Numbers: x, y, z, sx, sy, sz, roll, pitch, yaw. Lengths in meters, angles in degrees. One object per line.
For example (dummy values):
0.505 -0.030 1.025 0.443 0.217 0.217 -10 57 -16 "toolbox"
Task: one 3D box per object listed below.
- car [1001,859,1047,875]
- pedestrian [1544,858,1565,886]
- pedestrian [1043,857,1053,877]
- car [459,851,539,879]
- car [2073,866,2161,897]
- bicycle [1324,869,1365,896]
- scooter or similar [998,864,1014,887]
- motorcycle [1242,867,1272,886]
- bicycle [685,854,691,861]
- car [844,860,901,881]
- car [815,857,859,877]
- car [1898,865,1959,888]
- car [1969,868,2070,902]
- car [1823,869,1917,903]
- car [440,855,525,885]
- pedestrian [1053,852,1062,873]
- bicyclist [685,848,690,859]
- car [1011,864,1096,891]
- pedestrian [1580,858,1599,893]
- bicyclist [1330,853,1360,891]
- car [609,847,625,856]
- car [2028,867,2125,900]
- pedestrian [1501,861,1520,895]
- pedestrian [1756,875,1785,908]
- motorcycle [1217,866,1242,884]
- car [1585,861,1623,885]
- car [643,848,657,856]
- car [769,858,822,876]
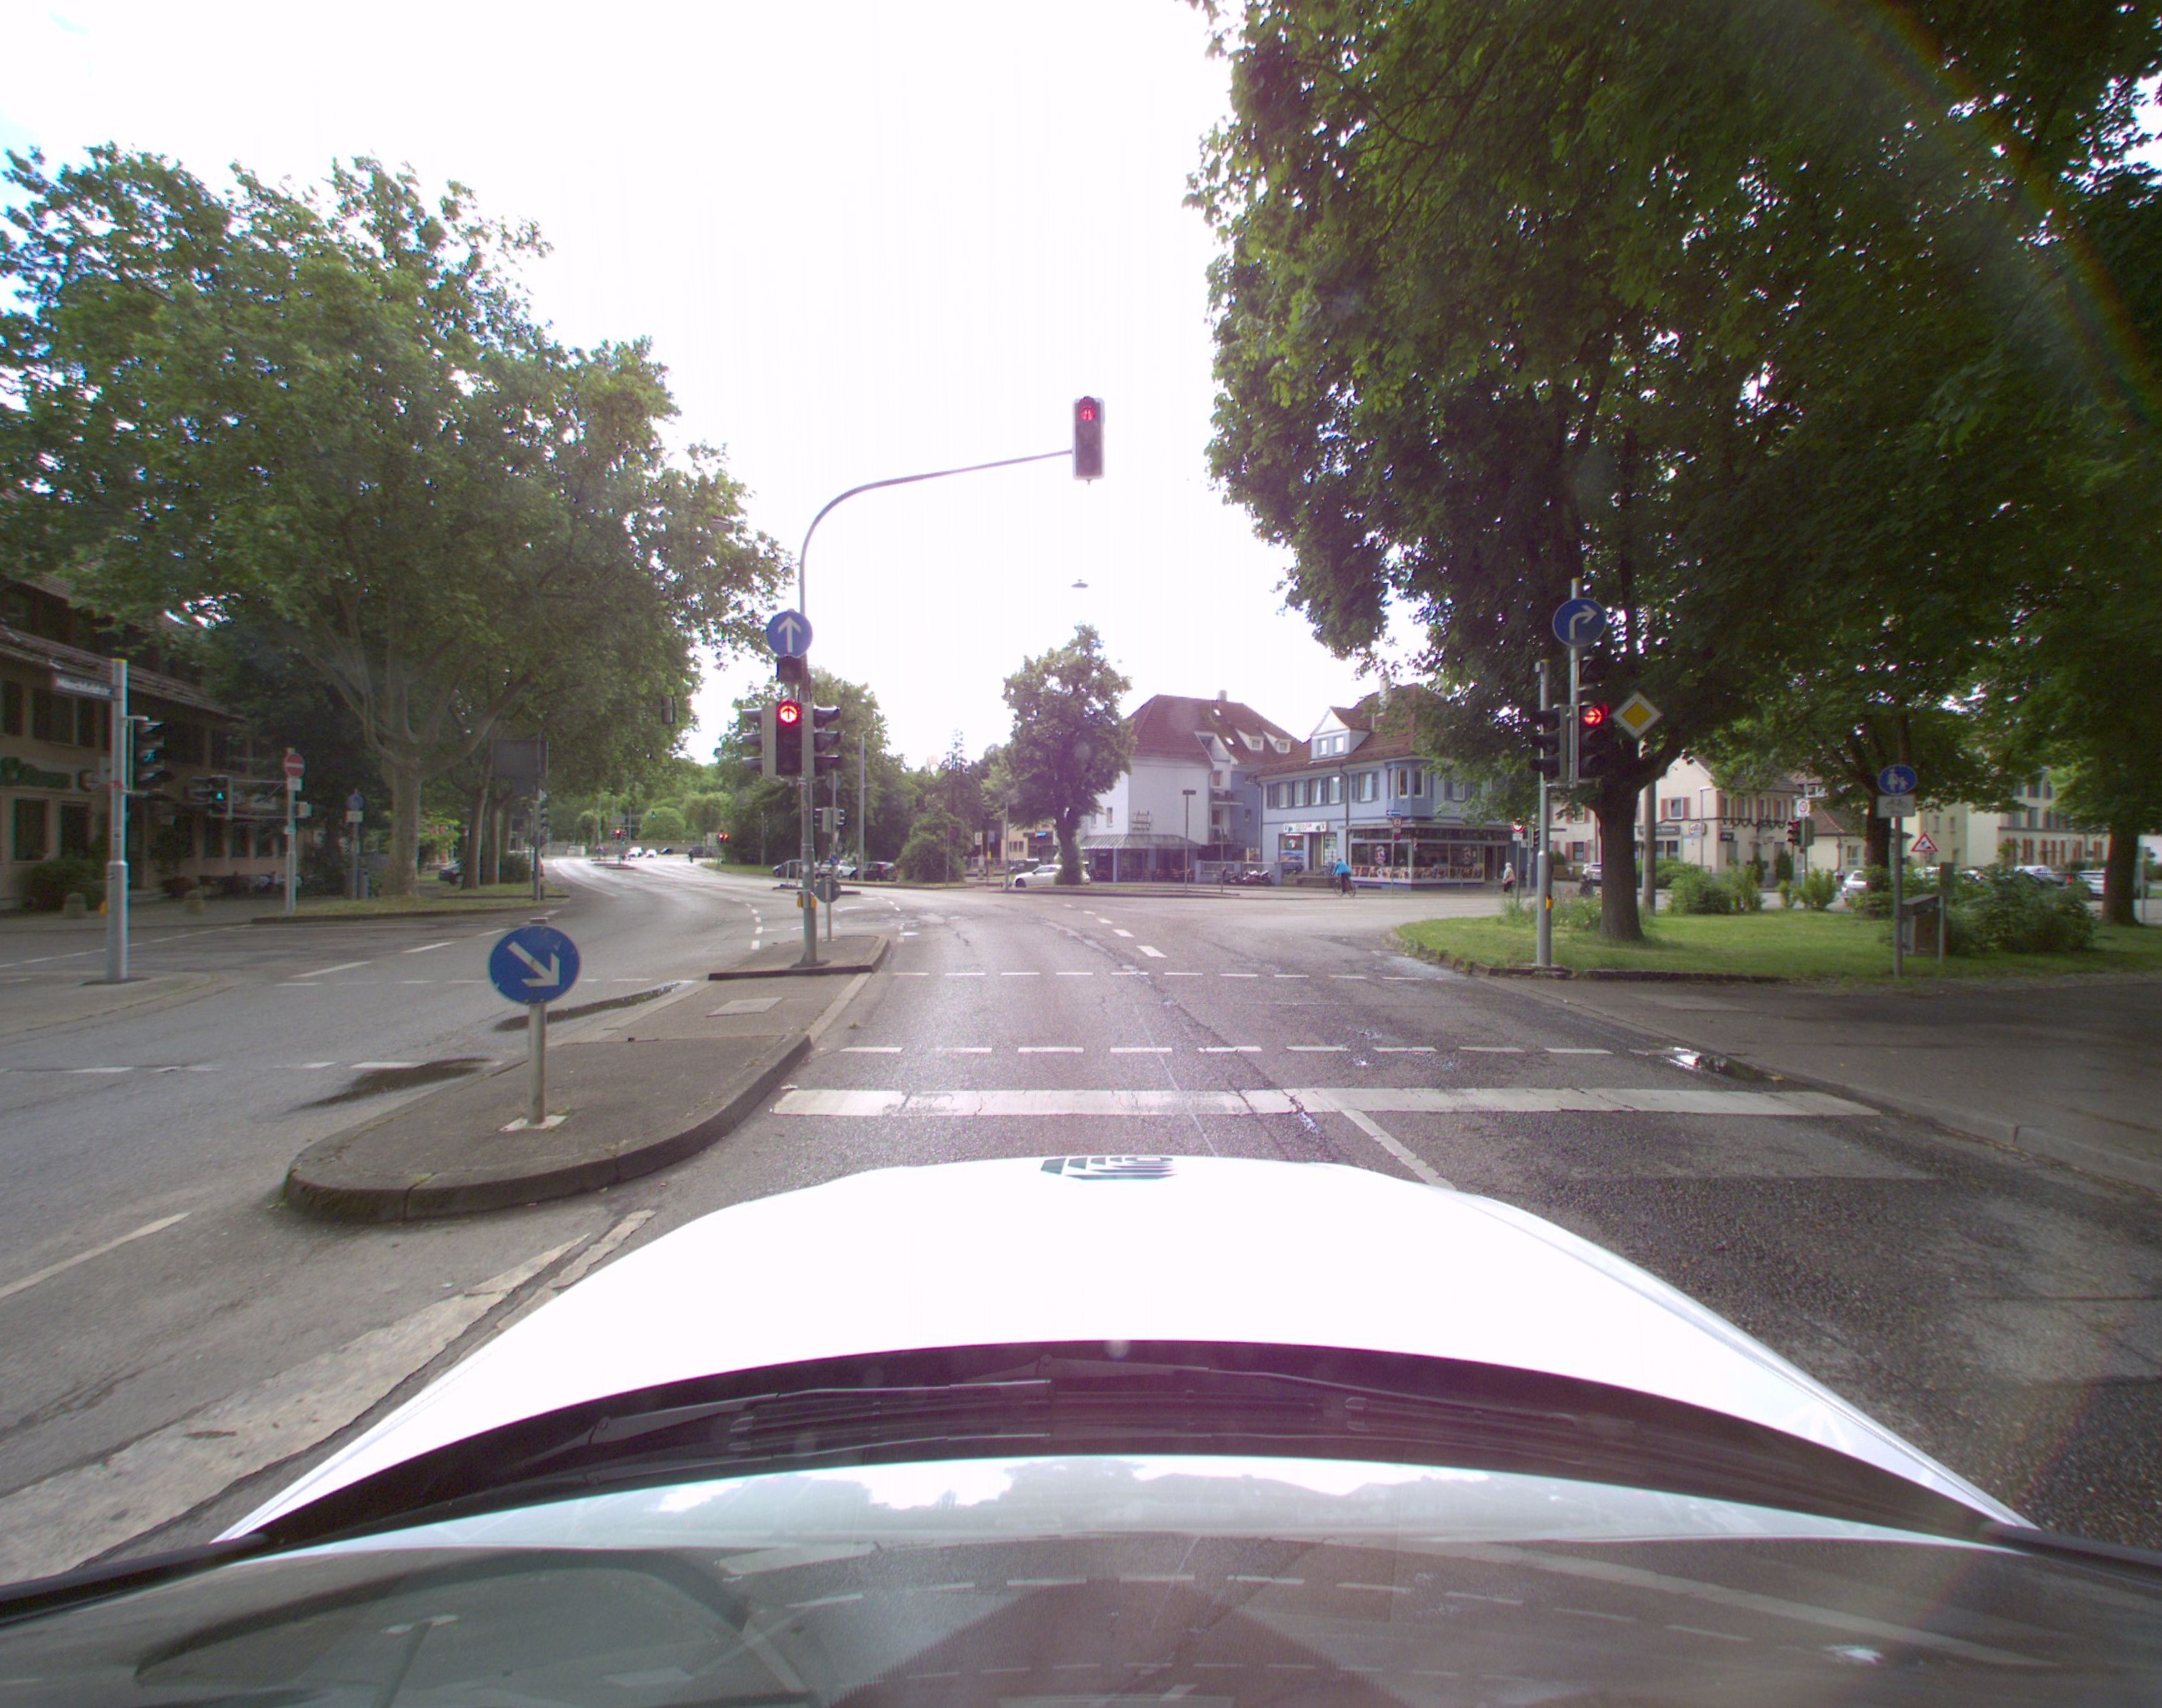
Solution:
-5.322 1.225 75.925 3.948 1.442 1.742 0 0 -18 "car"
26.462 0.982 45.505 0.671 1.560 0.743 0 -1 -13 "pedestrian"
-3.276 1.305 81.065 0.838 2.014 1.051 0 -1 -12 "pedestrian"
-36.461 0.673 51.182 4.015 1.684 1.979 0 -1 -34 "car"
52.595 1.368 41.264 3.731 1.457 1.640 0 0 -17 "car"
11.699 1.250 36.234 0.874 1.149 1.944 0 0 -12 "bicycle"
-3.953 1.134 42.853 0.439 1.175 1.442 -1 -1 11 "scooter or similar"
10.427 1.314 48.253 1.609 1.088 0.631 -1 -1 34 "motorcycle"
-48.948 0.425 101.354 0.559 0.958 2.014 0 0 -28 "bicycle"
-13.828 1.048 54.008 3.285 1.352 1.791 0 0 29 "car"
-20.137 1.077 67.414 1.848 1.640 3.768 0 0 13 "car"
55.472 1.435 53.301 3.871 1.447 1.753 0 -1 -28 "car"
42.345 1.378 36.762 3.731 1.457 1.640 0 0 -17 "car"
31.926 1.265 32.955 3.007 1.267 1.455 0 -1 -17 "car"
-35.631 0.949 48.613 4.015 1.684 1.979 0 -1 -34 "car"
-1.733 0.614 59.460 0.538 1.560 0.470 -1 -1 15 "pedestrian"
-48.971 -0.077 101.330 0.543 1.342 0.707 0 -1 -29 "bicyclist"
-1.596 1.281 45.940 4.654 1.410 1.914 0 -1 37 "car"
22.716 0.957 36.361 0.687 1.560 0.671 -1 -1 33 "pedestrian"
11.707 0.805 36.133 0.916 1.651 0.984 0 -1 -13 "bicyclist"
-87.222 -0.427 153.081 3.293 1.486 1.594 -1 -2 43 "car"
47.079 1.369 38.526 3.731 1.457 1.640 0 0 -17 "car"
19.958 1.121 37.831 0.724 1.560 0.773 -1 -1 33 "pedestrian"
22.846 1.234 26.995 0.505 1.081 0.514 0 -1 -13 "pedestrian"
9.133 1.303 50.055 1.441 1.088 0.527 -1 -1 37 "motorcycle"
32.457 1.136 50.629 1.866 1.391 3.637 0 0 31 "car"
-83.269 -0.399 157.285 2.988 1.417 1.509 -1 -2 43 "car"
-22.591 1.018 64.523 3.742 1.465 1.629 0 0 20 "car"
